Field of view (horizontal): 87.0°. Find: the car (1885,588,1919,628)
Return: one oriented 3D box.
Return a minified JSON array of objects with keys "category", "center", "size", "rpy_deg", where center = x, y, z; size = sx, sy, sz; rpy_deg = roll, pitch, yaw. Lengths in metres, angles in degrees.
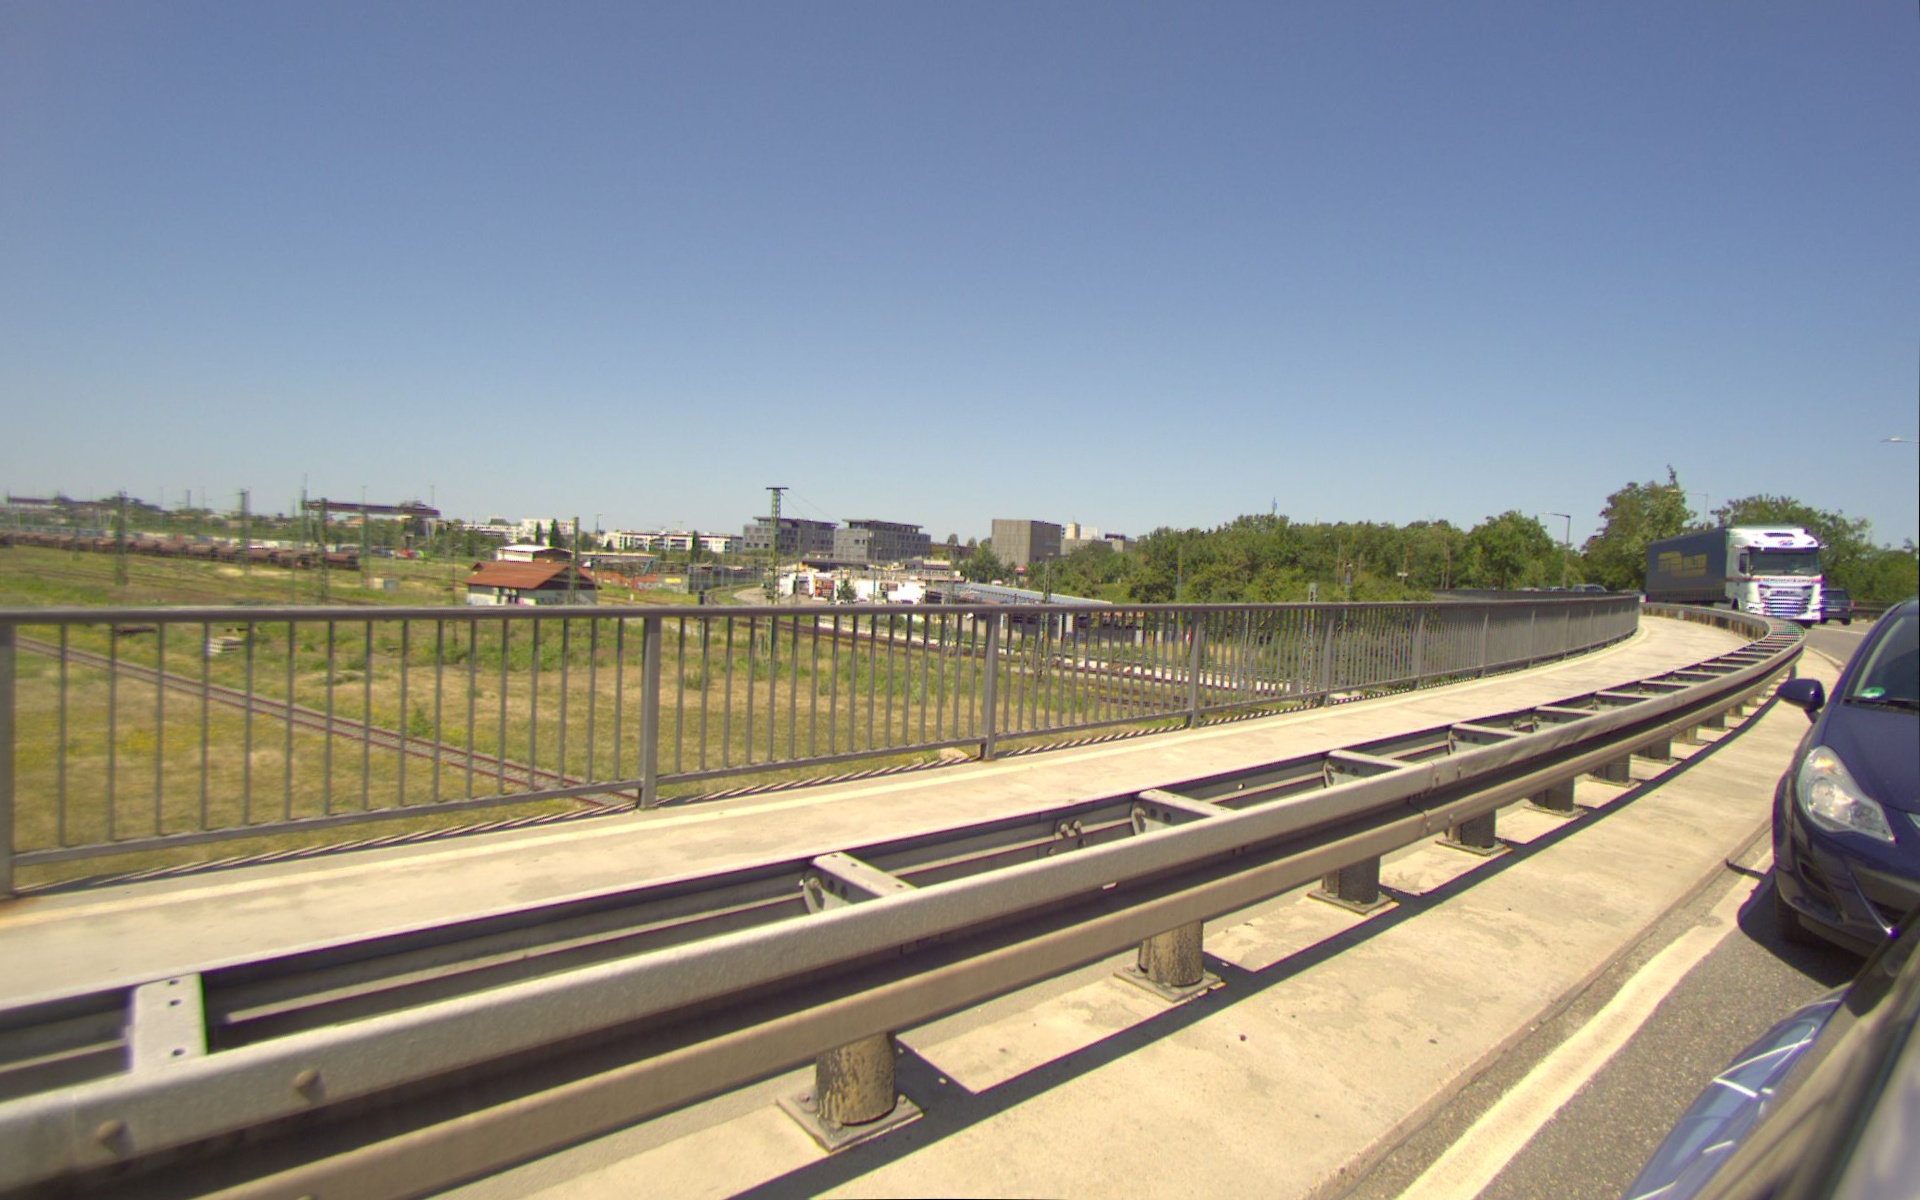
[{"category":"car","center":[33.876,0.263,35.153],"size":[1.669,1.324,3.933],"rpy_deg":[1,1,29]}]

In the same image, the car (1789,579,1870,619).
[{"category":"car","center":[39.376,-0.075,45.914],"size":[1.694,1.646,4.216],"rpy_deg":[-1,1,26]}]

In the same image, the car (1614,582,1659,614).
[{"category":"car","center":[48.515,-0.120,72.671],"size":[1.740,2.040,3.969],"rpy_deg":[-3,-4,21]}]

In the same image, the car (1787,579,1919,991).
[{"category":"car","center":[5.097,0.642,4.654],"size":[1.641,1.457,3.936],"rpy_deg":[1,1,45]}]

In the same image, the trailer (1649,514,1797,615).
[{"category":"trailer","center":[36.715,-1.678,49.298],"size":[2.671,4.287,12.618],"rpy_deg":[0,1,23]}]

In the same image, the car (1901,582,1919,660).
[{"category":"car","center":[18.866,0.399,18.617],"size":[1.785,1.473,4.463],"rpy_deg":[0,0,37]}]

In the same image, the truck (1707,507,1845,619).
[{"category":"truck","center":[33.772,-1.474,42.185],"size":[2.666,4.281,6.788],"rpy_deg":[0,1,23]}]
